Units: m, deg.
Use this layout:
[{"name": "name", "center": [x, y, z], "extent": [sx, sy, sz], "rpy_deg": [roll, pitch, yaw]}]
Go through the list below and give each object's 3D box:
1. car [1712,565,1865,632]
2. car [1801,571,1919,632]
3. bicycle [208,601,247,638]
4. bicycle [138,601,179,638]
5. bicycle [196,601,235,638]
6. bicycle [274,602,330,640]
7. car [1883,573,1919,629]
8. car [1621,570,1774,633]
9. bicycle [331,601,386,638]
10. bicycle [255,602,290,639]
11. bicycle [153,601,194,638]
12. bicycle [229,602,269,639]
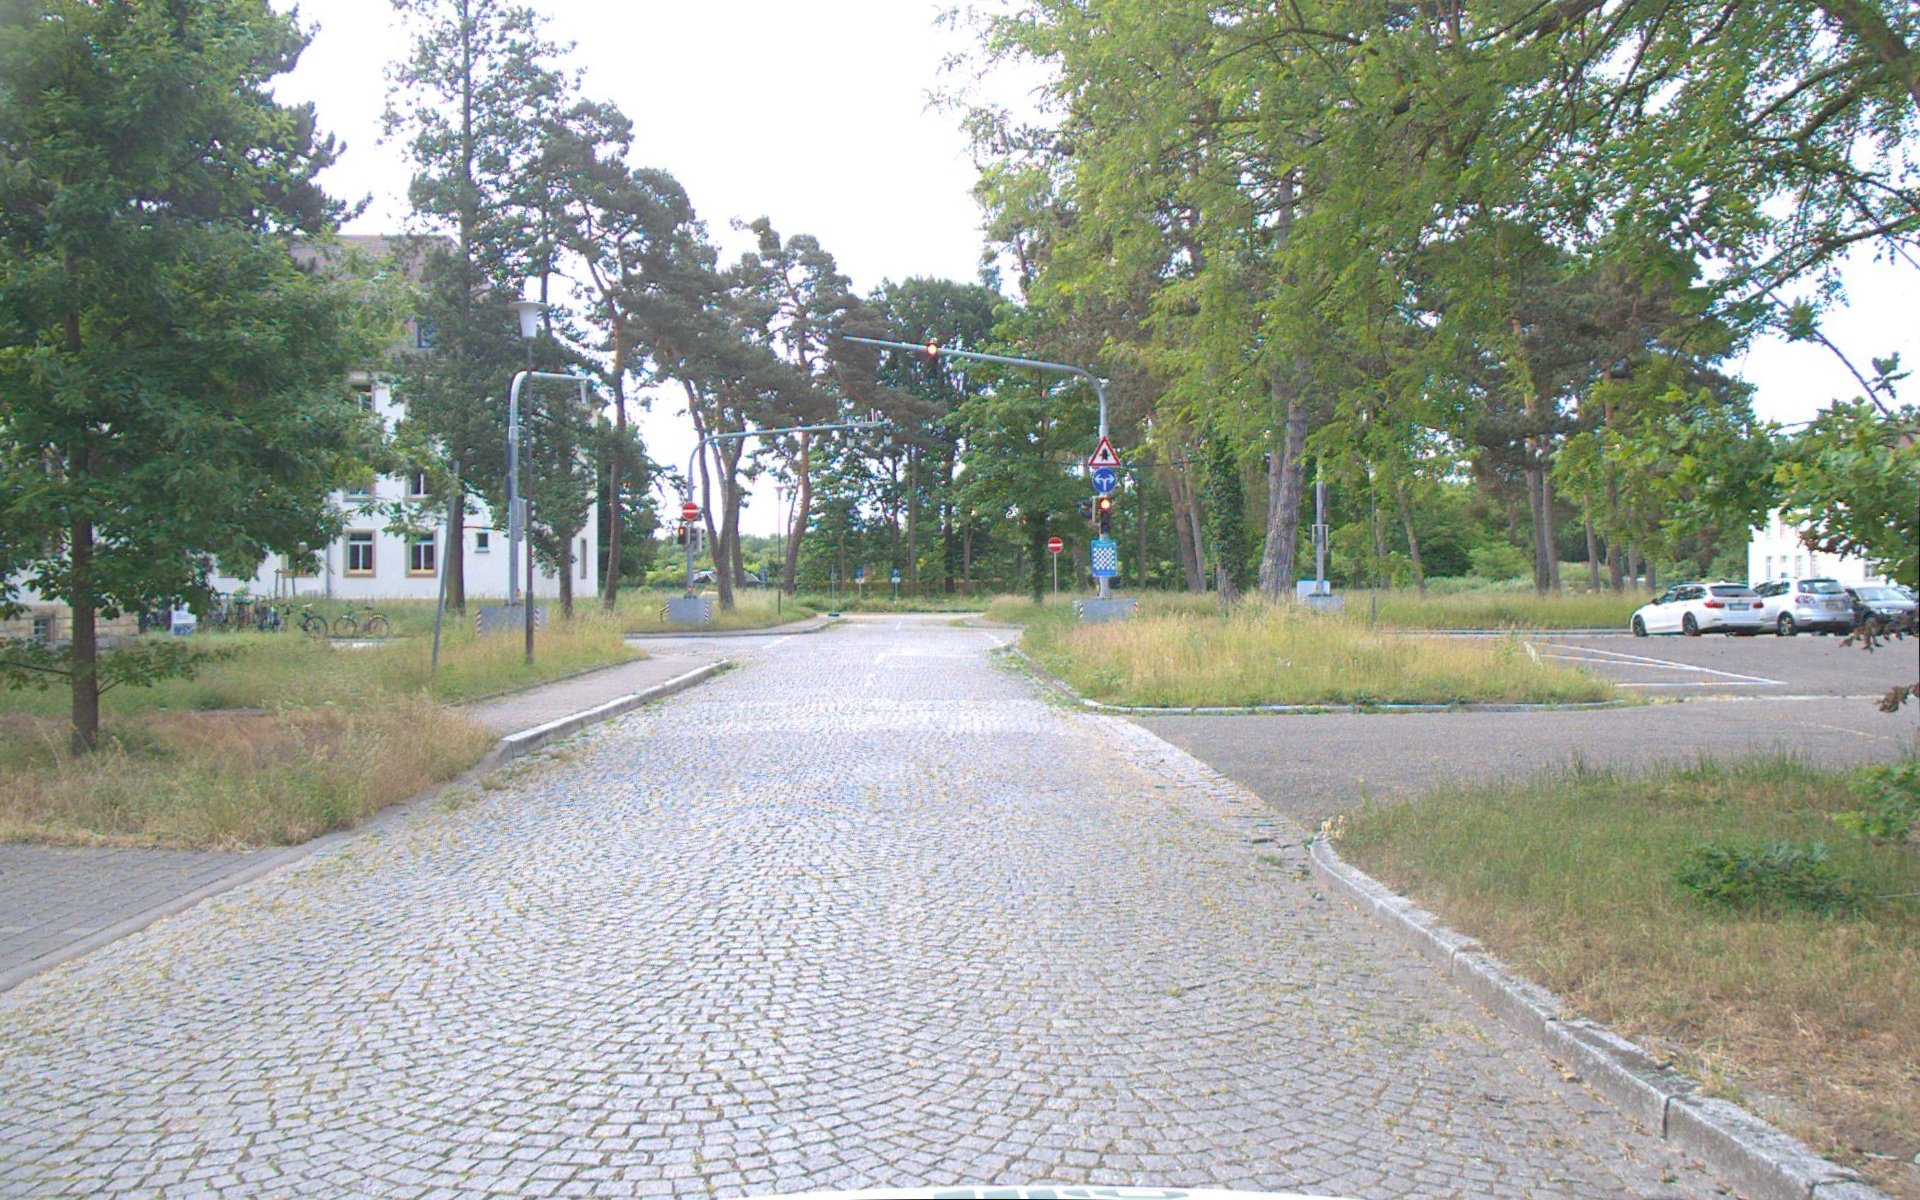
[{"name": "car", "center": [22.401, 0.002, 44.905], "extent": [1.747, 1.634, 4.239], "rpy_deg": [0, -2, -4]}, {"name": "car", "center": [24.970, 0.071, 45.300], "extent": [1.666, 1.511, 4.242], "rpy_deg": [-1, -2, 0]}, {"name": "bicycle", "center": [-22.412, 0.591, 50.605], "extent": [0.504, 1.098, 1.585], "rpy_deg": [-1, 0, -1]}, {"name": "bicycle", "center": [-24.439, 0.586, 50.453], "extent": [0.504, 1.098, 1.585], "rpy_deg": [-1, 0, -1]}, {"name": "bicycle", "center": [-22.767, 0.583, 50.595], "extent": [0.504, 1.098, 1.585], "rpy_deg": [-1, 0, -1]}, {"name": "bicycle", "center": [-19.618, 0.620, 49.328], "extent": [1.435, 1.098, 0.516], "rpy_deg": [-1, 0, -4]}, {"name": "car", "center": [27.642, -0.011, 45.888], "extent": [1.666, 1.511, 4.242], "rpy_deg": [-1, -2, 0]}, {"name": "car", "center": [19.813, 0.080, 44.695], "extent": [1.812, 1.513, 4.604], "rpy_deg": [1, -2, -4]}, {"name": "bicycle", "center": [-18.017, 0.577, 49.558], "extent": [1.435, 1.084, 0.516], "rpy_deg": [-1, 0, -4]}, {"name": "bicycle", "center": [-21.055, 0.619, 50.655], "extent": [0.504, 1.098, 1.584], "rpy_deg": [-1, 0, -4]}, {"name": "bicycle", "center": [-23.995, 0.592, 50.478], "extent": [0.504, 1.098, 1.585], "rpy_deg": [-1, 0, -1]}, {"name": "bicycle", "center": [-21.718, 0.605, 50.540], "extent": [0.504, 1.098, 1.586], "rpy_deg": [-1, 0, 1]}]
